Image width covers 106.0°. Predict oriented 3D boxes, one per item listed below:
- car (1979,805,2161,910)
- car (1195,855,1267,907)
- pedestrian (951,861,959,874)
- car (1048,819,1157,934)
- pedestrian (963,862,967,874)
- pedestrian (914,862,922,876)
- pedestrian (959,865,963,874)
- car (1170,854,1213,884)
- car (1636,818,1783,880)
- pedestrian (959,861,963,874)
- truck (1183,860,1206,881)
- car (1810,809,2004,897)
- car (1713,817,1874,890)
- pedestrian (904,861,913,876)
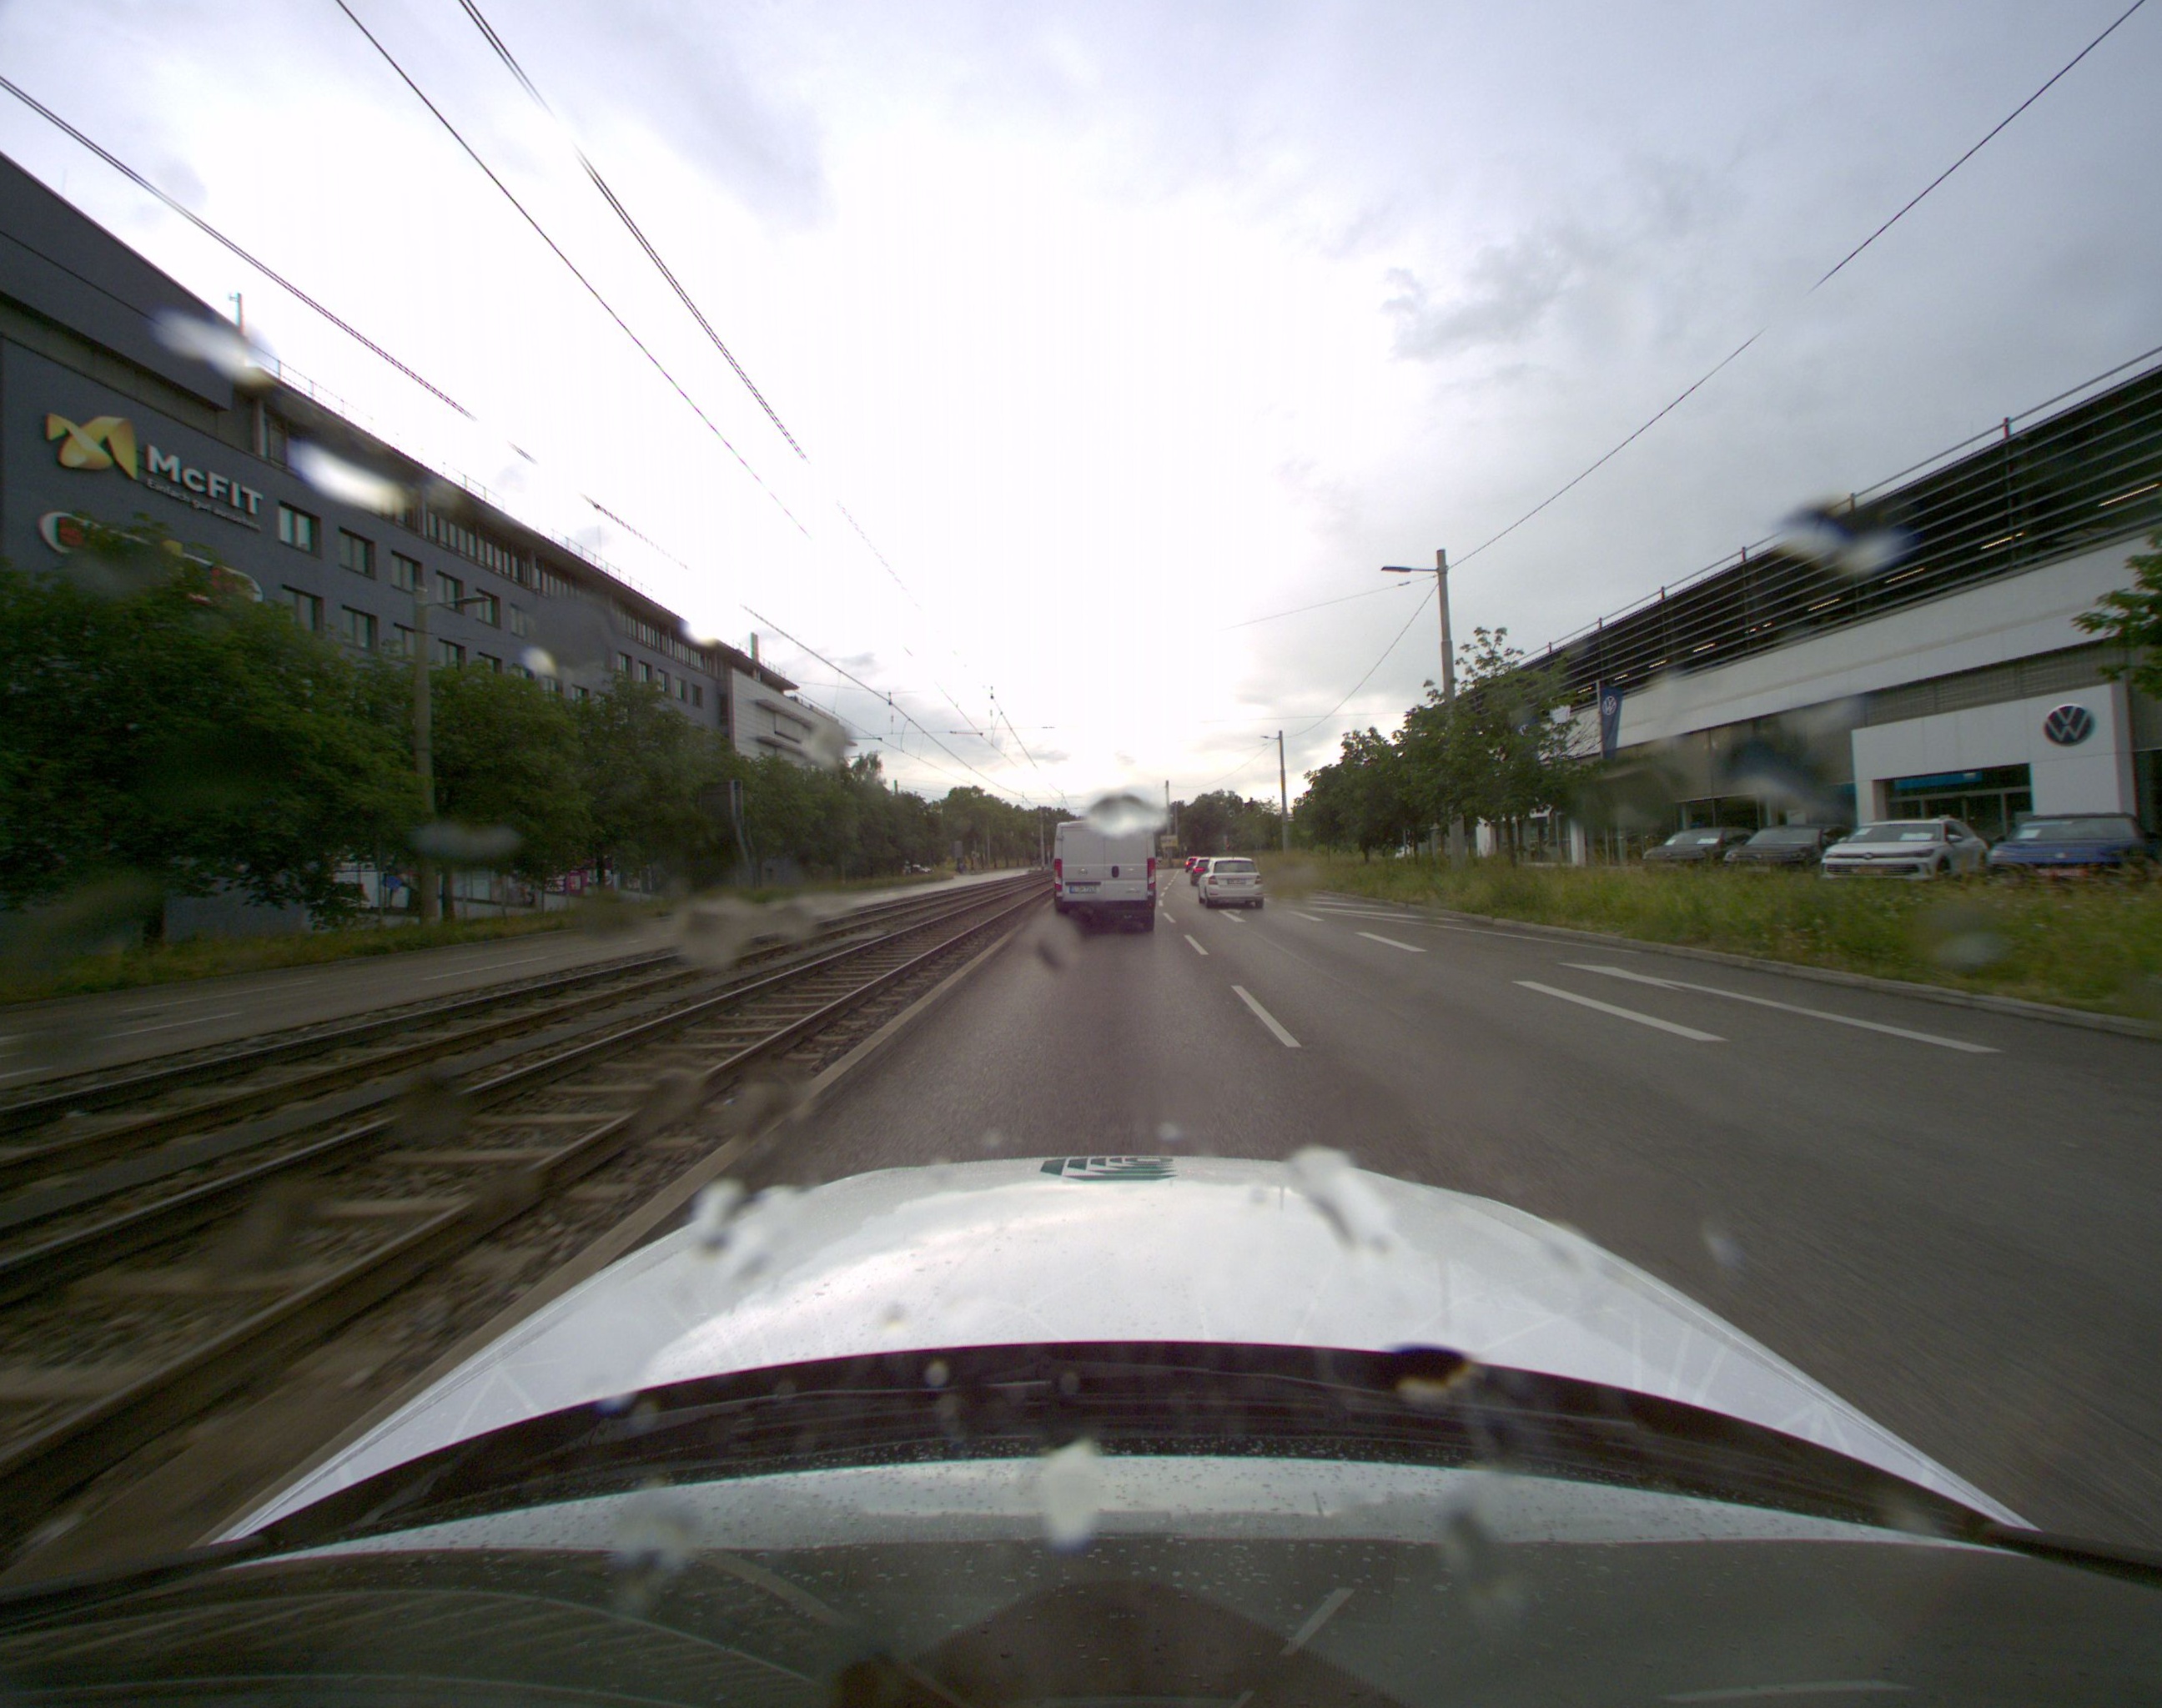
[{"bbox_3d":[17.863,0.022,14.544,4.207,1.568,1.780,-4,-1,-34],"label":"car"},{"bbox_3d":[4.463,0.758,24.642,1.739,1.457,3.675,0,0,4],"label":"car"},{"bbox_3d":[-19.034,2.008,123.033,0.885,2.014,0.865,-2,-1,-3],"label":"pedestrian"},{"bbox_3d":[0.460,0.432,18.283,2.083,2.196,5.061,-1,0,1],"label":"car"},{"bbox_3d":[-17.309,2.150,121.589,0.503,1.787,0.833,0,-1,7],"label":"pedestrian"},{"bbox_3d":[-20.921,1.954,104.596,0.722,1.755,0.878,0,-1,5],"label":"pedestrian"},{"bbox_3d":[-18.136,2.344,123.243,0.493,1.473,0.723,0,-1,4],"label":"pedestrian"},{"bbox_3d":[5.619,0.749,41.916,1.782,1.449,4.002,-1,-1,2],"label":"car"},{"bbox_3d":[19.445,-0.155,25.156,4.639,1.568,1.834,-4,-1,-29],"label":"car"},{"bbox_3d":[-17.979,2.048,121.893,0.493,1.955,0.723,0,-1,6],"label":"pedestrian"},{"bbox_3d":[10.715,1.529,77.134,1.984,1.790,4.421,-3,0,6],"label":"truck"},{"bbox_3d":[18.364,-0.043,18.077,4.368,1.626,1.839,-4,-1,-29],"label":"car"},{"bbox_3d":[18.615,-0.019,21.244,4.389,1.568,1.782,-4,-1,-30],"label":"car"},{"bbox_3d":[-22.186,1.894,104.498,0.628,1.867,0.958,-3,-1,18],"label":"pedestrian"}]
